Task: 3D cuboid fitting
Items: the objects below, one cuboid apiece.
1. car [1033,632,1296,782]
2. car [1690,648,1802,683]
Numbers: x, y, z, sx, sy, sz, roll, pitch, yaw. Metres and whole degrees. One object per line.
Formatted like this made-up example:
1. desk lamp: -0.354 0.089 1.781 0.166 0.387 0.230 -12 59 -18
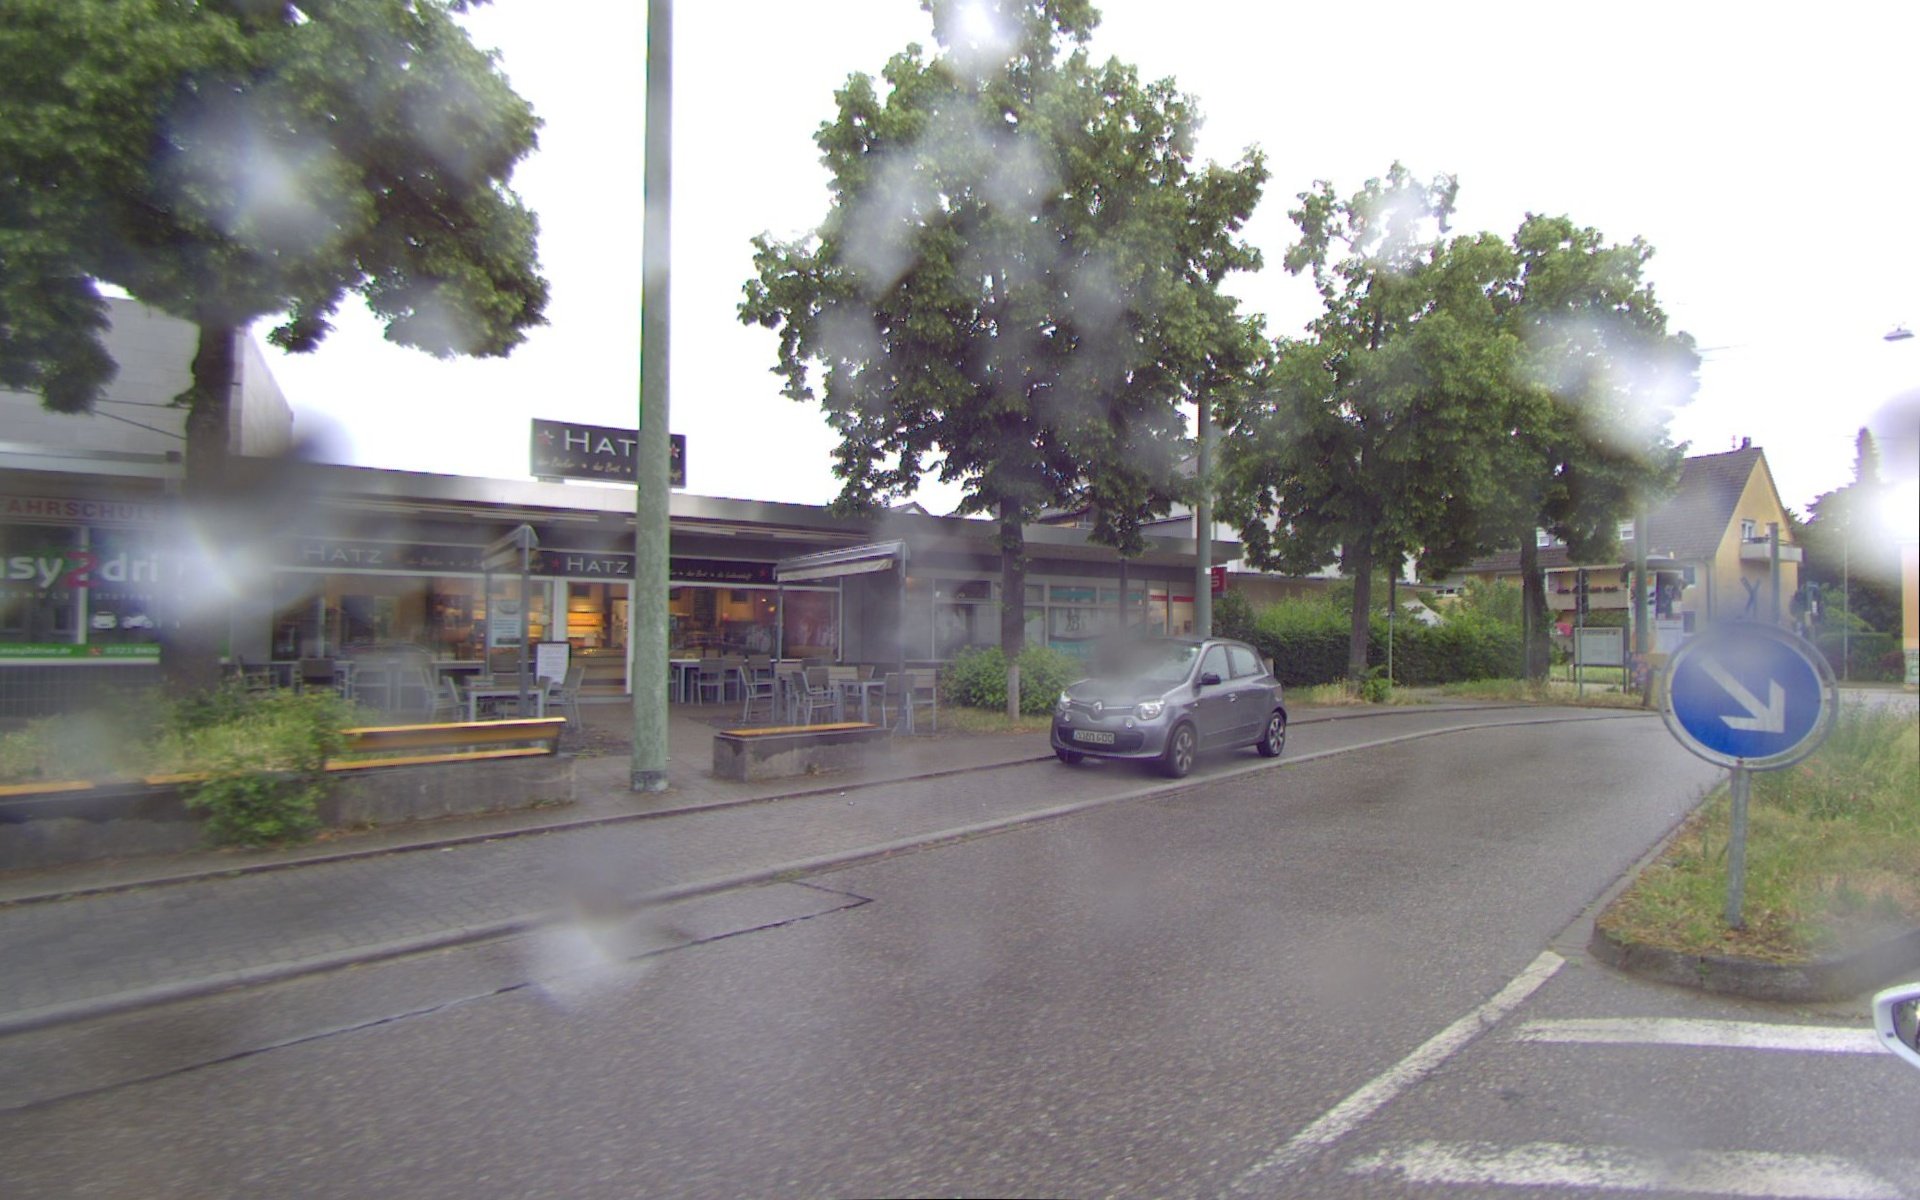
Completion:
1. car: 2.662 1.206 12.517 1.599 1.516 3.649 1 -1 41
2. car: 38.640 3.189 49.462 1.815 1.475 3.961 2 -1 -35
